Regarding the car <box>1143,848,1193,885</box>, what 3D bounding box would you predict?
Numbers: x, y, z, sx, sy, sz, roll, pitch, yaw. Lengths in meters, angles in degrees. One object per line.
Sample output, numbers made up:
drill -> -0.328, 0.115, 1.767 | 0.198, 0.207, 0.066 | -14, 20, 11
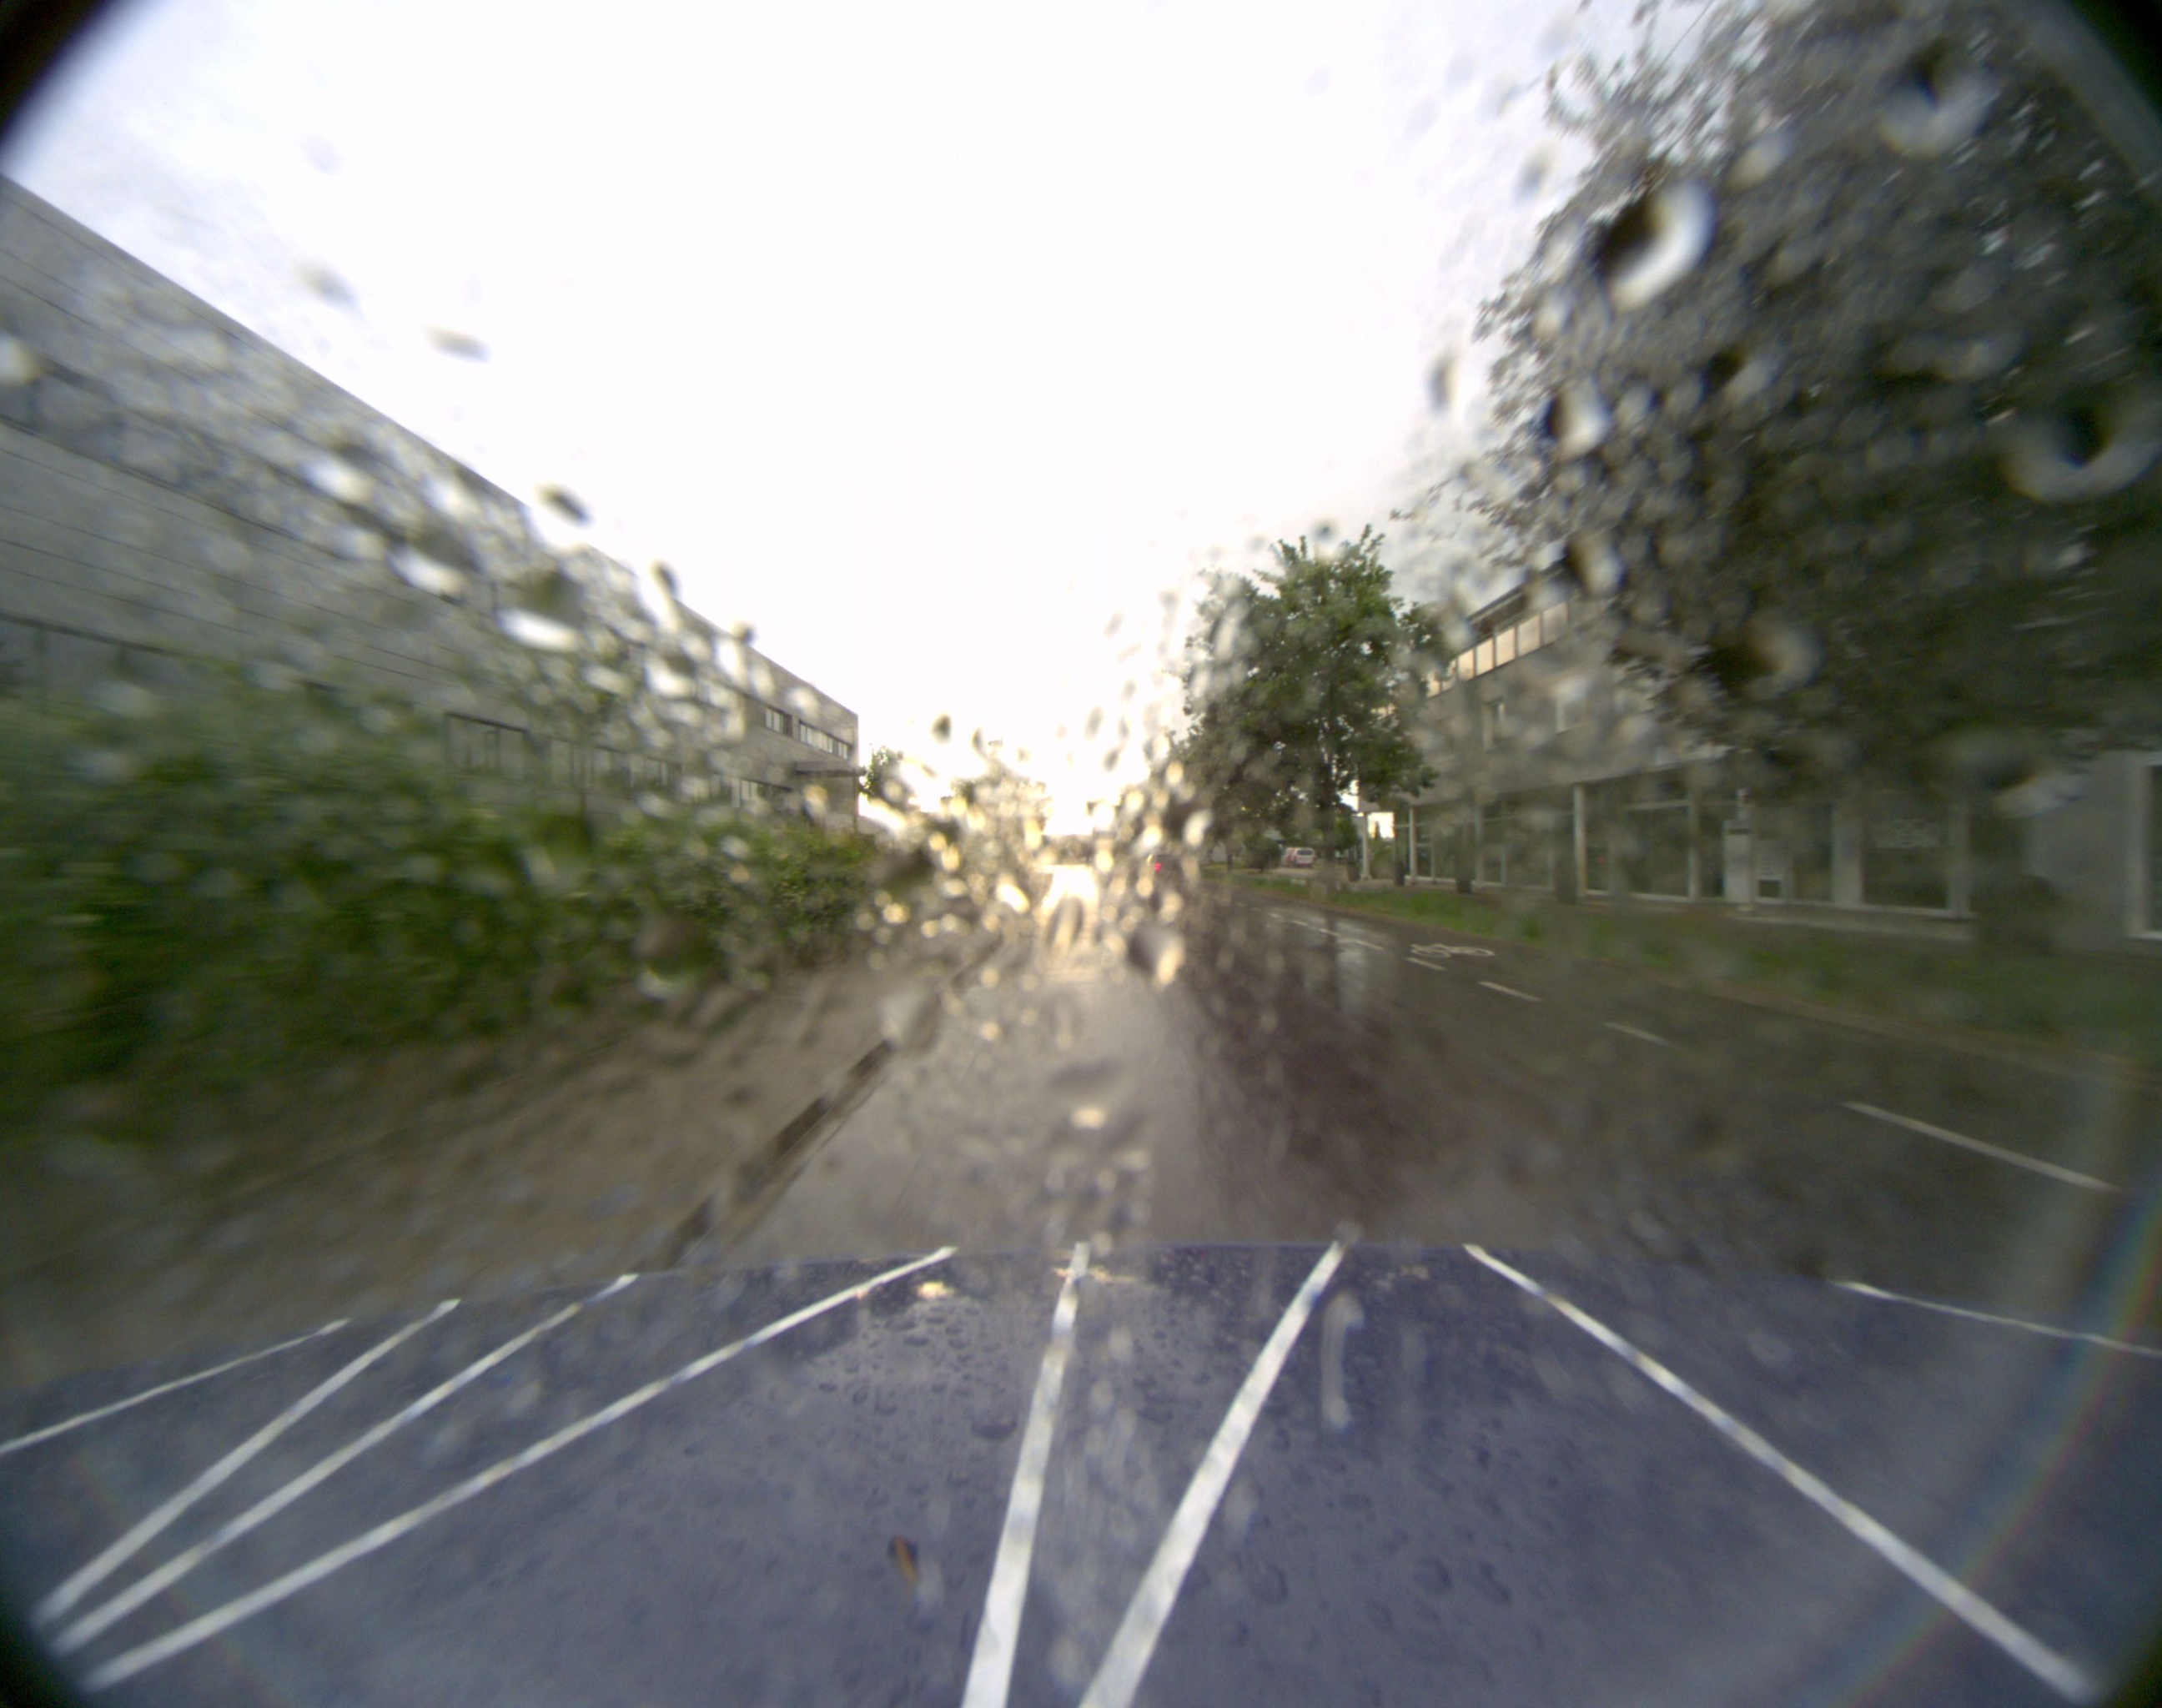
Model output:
car -> 4.022, 0.586, 35.755 | 1.855, 1.545, 4.502 | -2, -1, 1

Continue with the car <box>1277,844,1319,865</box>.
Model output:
car -> 20.292, 0.055, 71.274 | 2.039, 1.811, 5.608 | -2, -1, -3

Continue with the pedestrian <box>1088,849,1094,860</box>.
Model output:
pedestrian -> 1.627, 0.153, 125.130 | 0.747, 1.827, 0.889 | 0, -1, -9
